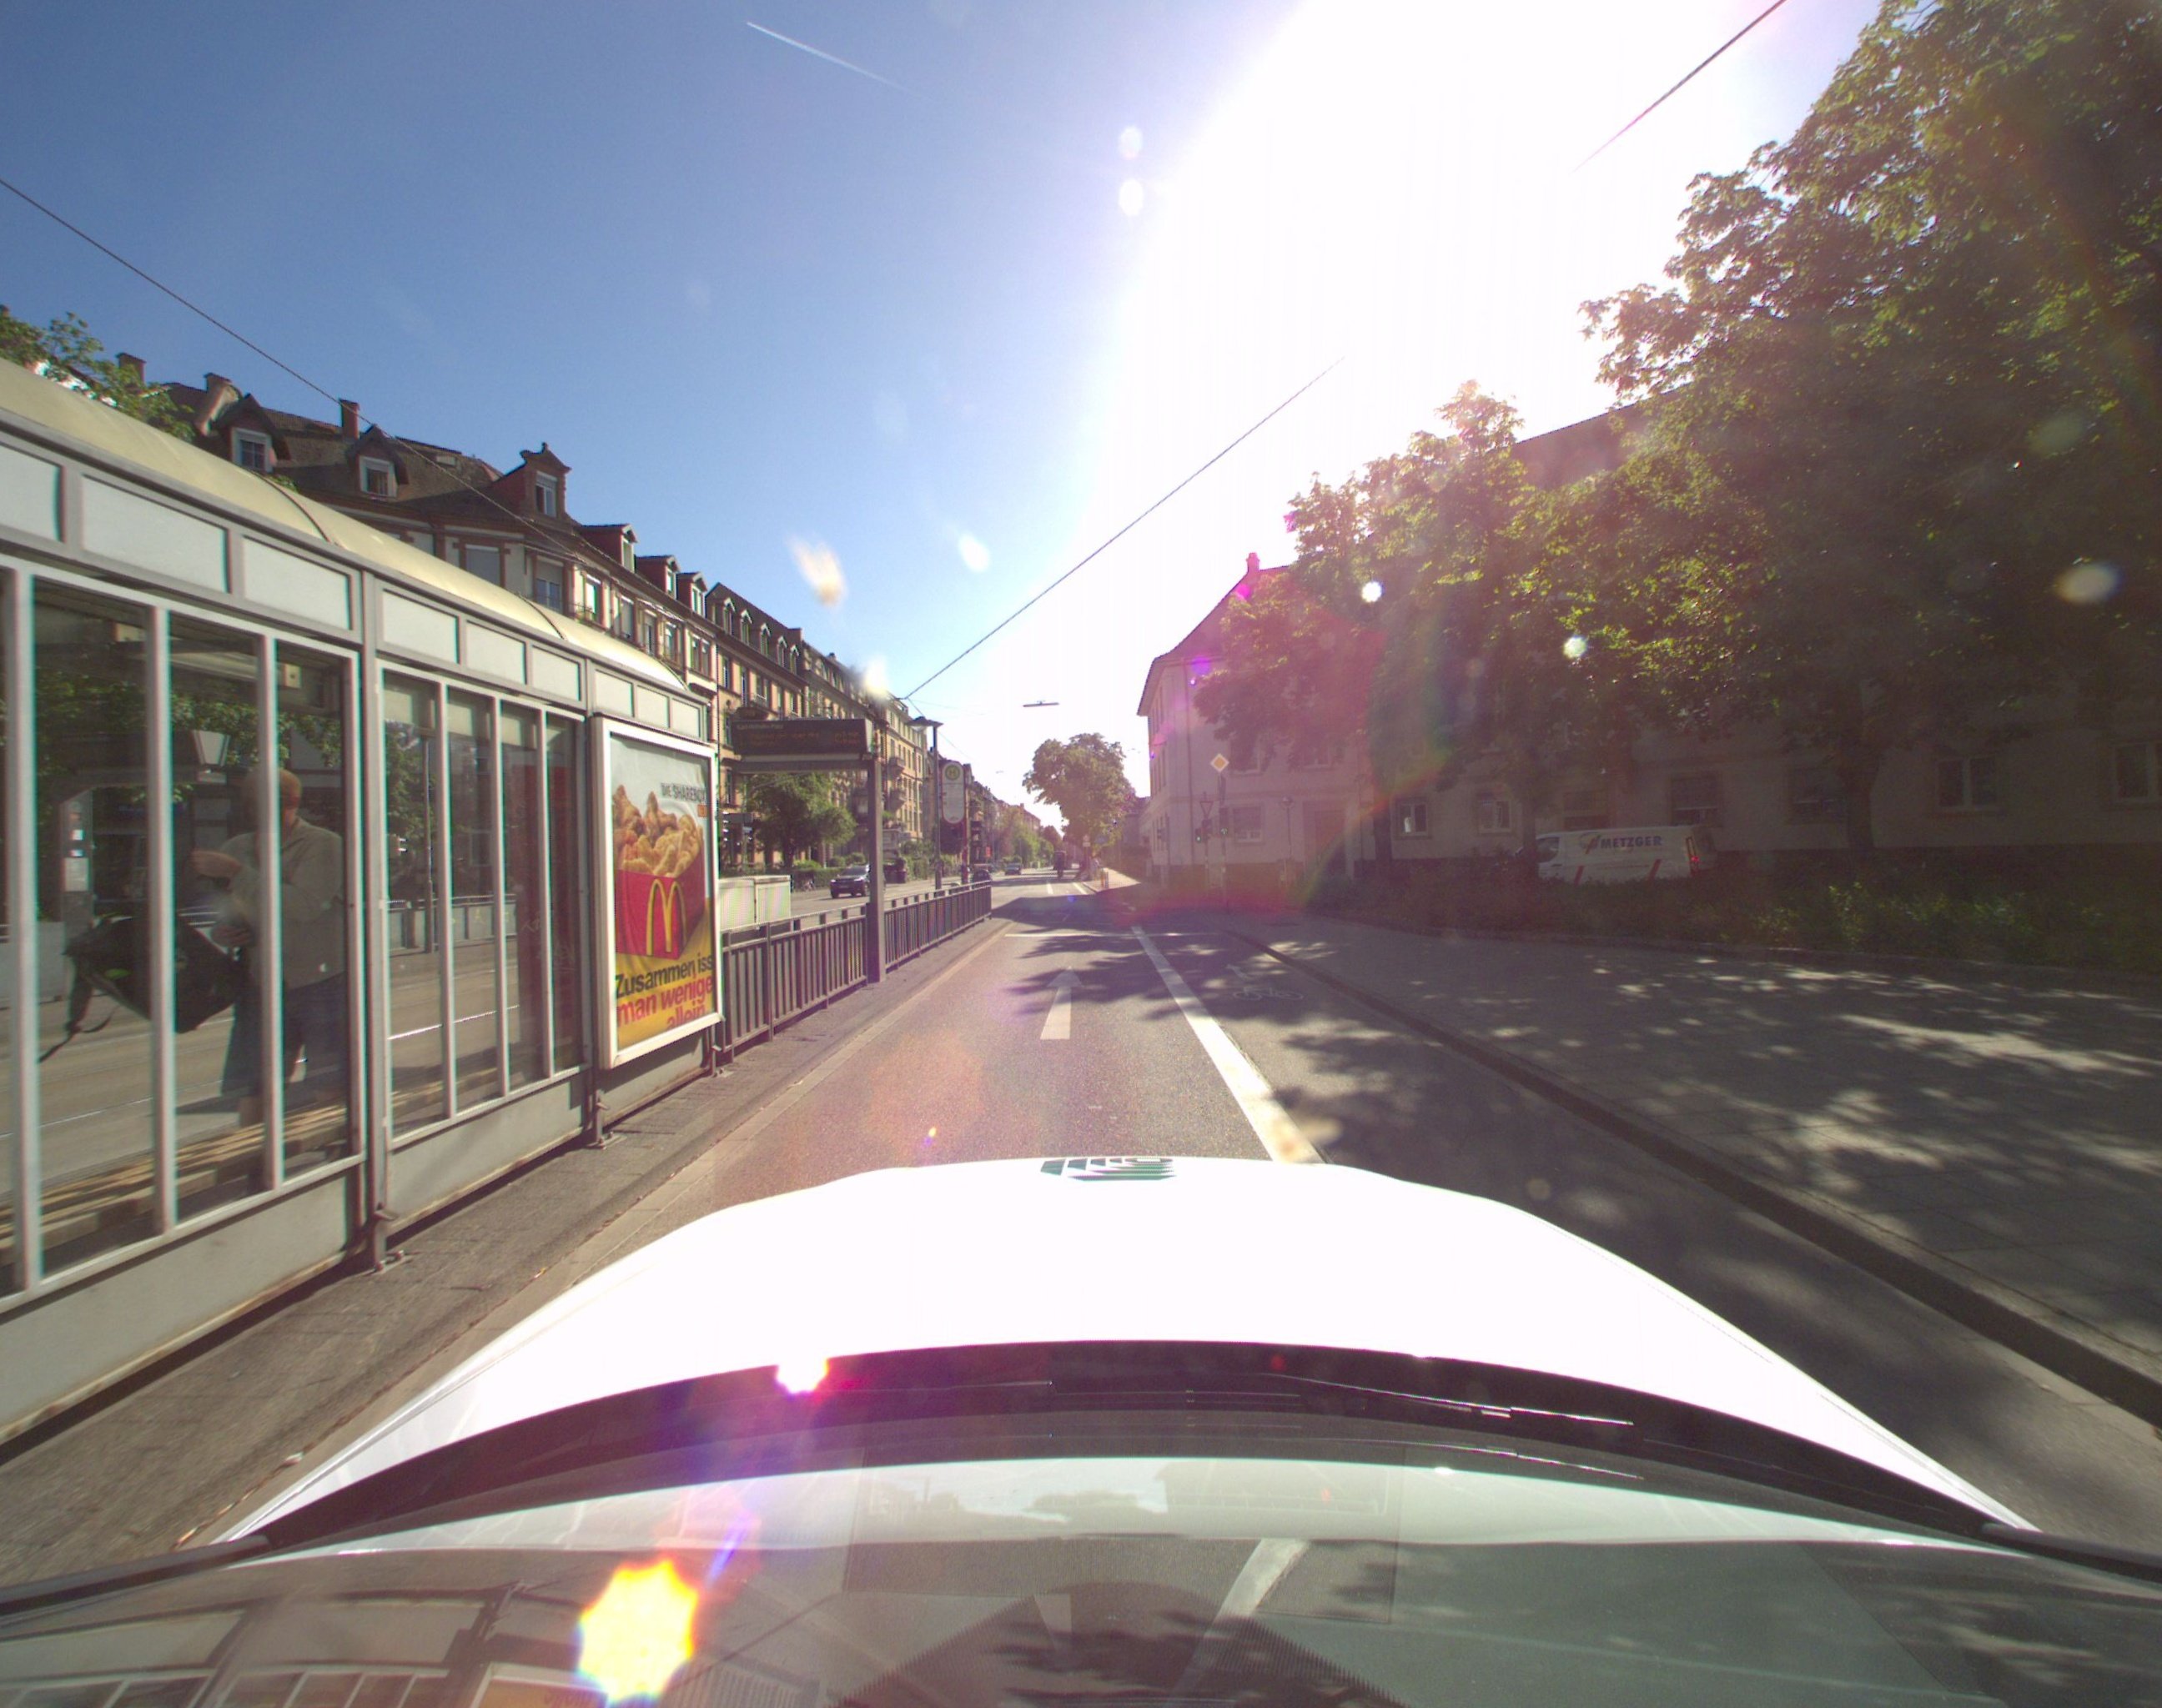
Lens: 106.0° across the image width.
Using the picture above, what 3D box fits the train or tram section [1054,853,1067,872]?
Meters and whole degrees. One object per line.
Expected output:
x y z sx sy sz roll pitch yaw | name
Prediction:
-3.732 1.569 149.124 2.146 3.432 6.611 0 -1 1 | train or tram section

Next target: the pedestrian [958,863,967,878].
-13.503 1.866 92.473 0.826 1.724 1.082 0 -2 1 | pedestrian

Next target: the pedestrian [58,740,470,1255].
-3.335 0.522 3.437 0.768 1.872 0.896 1 -1 3 | pedestrian

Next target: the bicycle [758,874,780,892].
-17.253 1.603 45.047 0.340 0.926 1.945 0 -1 5 | bicycle

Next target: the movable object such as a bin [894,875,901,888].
-15.424 2.283 68.387 0.477 1.086 0.541 0 -1 2 | movable object such as a bin

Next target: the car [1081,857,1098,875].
0.875 1.212 83.864 1.738 1.766 4.477 -1 0 0 | car

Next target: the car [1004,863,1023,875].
-8.459 1.868 101.866 1.825 1.518 4.967 0 0 1 | car

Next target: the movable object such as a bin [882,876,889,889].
-16.262 2.360 67.763 0.477 1.086 0.541 0 -1 2 | movable object such as a bin

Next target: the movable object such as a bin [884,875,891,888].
-16.245 2.303 68.434 0.477 1.086 0.541 0 -1 2 | movable object such as a bin

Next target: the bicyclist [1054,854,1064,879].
-1.668 0.960 62.419 0.725 1.848 0.836 0 -1 0 | bicyclist

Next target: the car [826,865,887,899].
-11.696 1.425 42.725 1.891 1.618 4.264 -3 -1 0 | car

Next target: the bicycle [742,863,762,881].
-17.465 0.949 43.215 0.340 0.926 1.454 0 -1 5 | bicycle

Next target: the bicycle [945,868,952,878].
-14.692 2.096 90.310 0.561 1.033 1.767 0 0 0 | bicycle

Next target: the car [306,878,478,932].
-19.911 1.440 23.667 3.444 1.442 1.574 0 -1 -9 | car

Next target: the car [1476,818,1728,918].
12.123 0.315 19.247 1.696 2.092 4.701 0 -1 -41 | car

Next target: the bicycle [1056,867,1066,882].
-1.546 1.583 62.489 0.689 1.112 1.719 0 -1 1 | bicycle

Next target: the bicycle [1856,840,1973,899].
19.224 0.355 18.829 0.429 1.280 1.812 -4 1 -32 | bicycle

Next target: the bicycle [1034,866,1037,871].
-10.295 3.298 184.883 0.458 0.926 2.203 -3 -1 1 | bicycle

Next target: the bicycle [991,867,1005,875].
-11.809 2.356 115.689 1.909 1.112 0.692 0 -1 -7 | bicycle

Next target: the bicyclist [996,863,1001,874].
-11.693 2.053 115.718 0.613 1.468 0.635 0 -1 -8 | bicyclist

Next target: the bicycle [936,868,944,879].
-14.886 2.049 85.970 0.561 1.033 1.768 0 1 1 | bicycle

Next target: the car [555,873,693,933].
-13.246 1.370 23.879 1.683 1.540 3.803 -1 -1 4 | car
